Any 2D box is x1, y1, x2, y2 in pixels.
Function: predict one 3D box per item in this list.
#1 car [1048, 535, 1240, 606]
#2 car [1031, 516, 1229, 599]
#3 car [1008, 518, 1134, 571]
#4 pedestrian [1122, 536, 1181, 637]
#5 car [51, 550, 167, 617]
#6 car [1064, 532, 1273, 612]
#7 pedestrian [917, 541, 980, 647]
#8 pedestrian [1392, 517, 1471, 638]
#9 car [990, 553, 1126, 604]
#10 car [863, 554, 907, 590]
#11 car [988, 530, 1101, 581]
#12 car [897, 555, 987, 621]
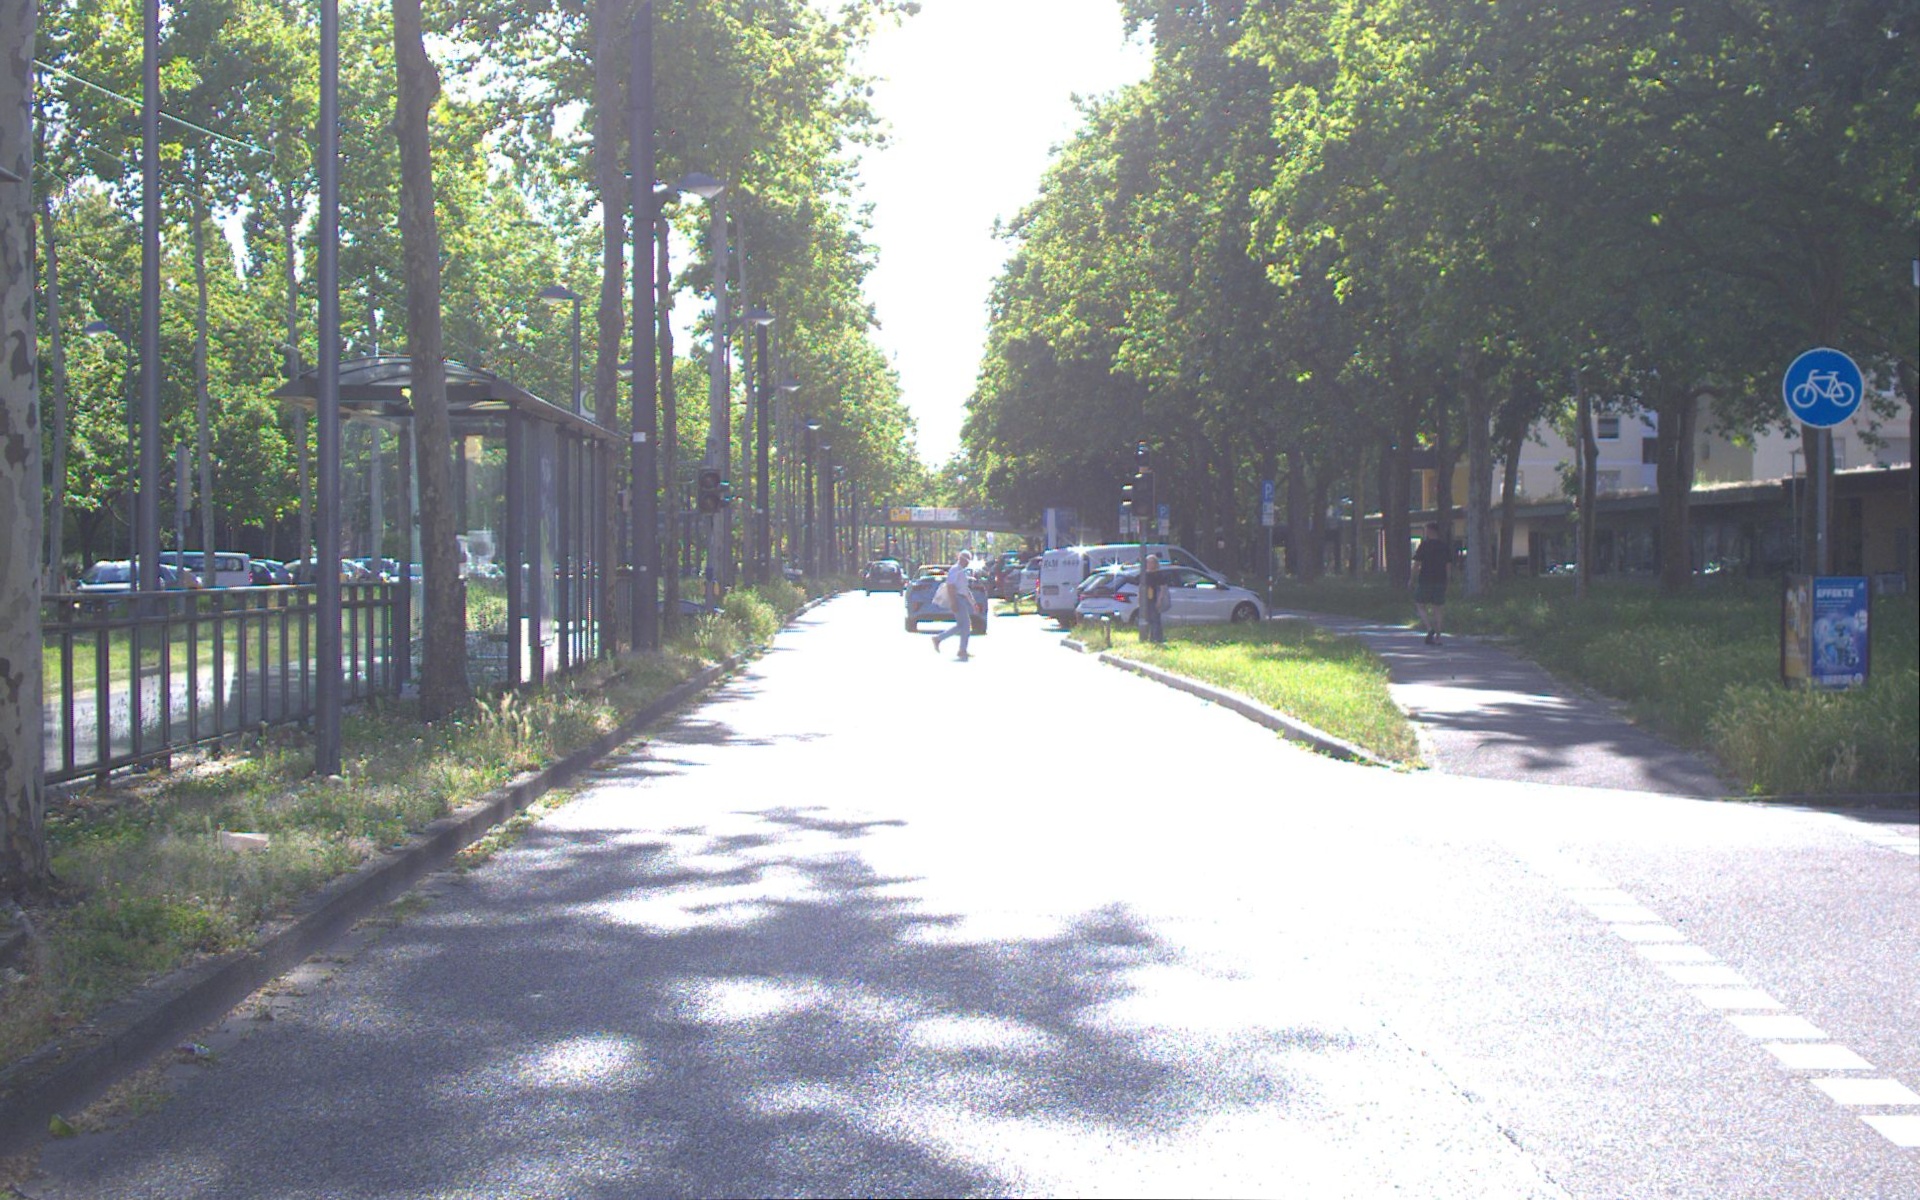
[{"bbox_3d":[4.169,-0.672,77.653,3.986,1.425,1.799,-3,2,-32],"label":"car"},{"bbox_3d":[4.038,-1.017,81.011,4.657,1.846,1.830,-2,1,-41],"label":"car"},{"bbox_3d":[3.682,-1.841,113.713,4.017,1.699,1.760,-2,1,-42],"label":"car"},{"bbox_3d":[3.292,-0.235,58.983,0.710,1.700,0.654,-2,0,-35],"label":"pedestrian"},{"bbox_3d":[-20.193,-0.419,81.716,1.714,1.540,3.933,0,1,1],"label":"car"},{"bbox_3d":[4.311,-0.586,70.894,3.986,1.464,1.761,-3,2,-32],"label":"car"},{"bbox_3d":[-0.190,-0.106,56.383,0.842,1.716,0.829,0,1,14],"label":"pedestrian"},{"bbox_3d":[7.419,-0.364,54.098,0.925,1.878,0.800,-1,1,-40],"label":"pedestrian"},{"bbox_3d":[2.846,-0.627,99.189,3.928,1.368,1.587,-2,1,-44],"label":"car"},{"bbox_3d":[-3.209,-1.214,147.633,1.849,1.530,3.866,0,1,0],"label":"car"},{"bbox_3d":[3.139,-1.653,127.363,4.073,1.804,1.650,-2,1,-41],"label":"car"},{"bbox_3d":[-0.422,-0.290,77.312,1.922,1.406,4.000,1,1,-1],"label":"car"}]
